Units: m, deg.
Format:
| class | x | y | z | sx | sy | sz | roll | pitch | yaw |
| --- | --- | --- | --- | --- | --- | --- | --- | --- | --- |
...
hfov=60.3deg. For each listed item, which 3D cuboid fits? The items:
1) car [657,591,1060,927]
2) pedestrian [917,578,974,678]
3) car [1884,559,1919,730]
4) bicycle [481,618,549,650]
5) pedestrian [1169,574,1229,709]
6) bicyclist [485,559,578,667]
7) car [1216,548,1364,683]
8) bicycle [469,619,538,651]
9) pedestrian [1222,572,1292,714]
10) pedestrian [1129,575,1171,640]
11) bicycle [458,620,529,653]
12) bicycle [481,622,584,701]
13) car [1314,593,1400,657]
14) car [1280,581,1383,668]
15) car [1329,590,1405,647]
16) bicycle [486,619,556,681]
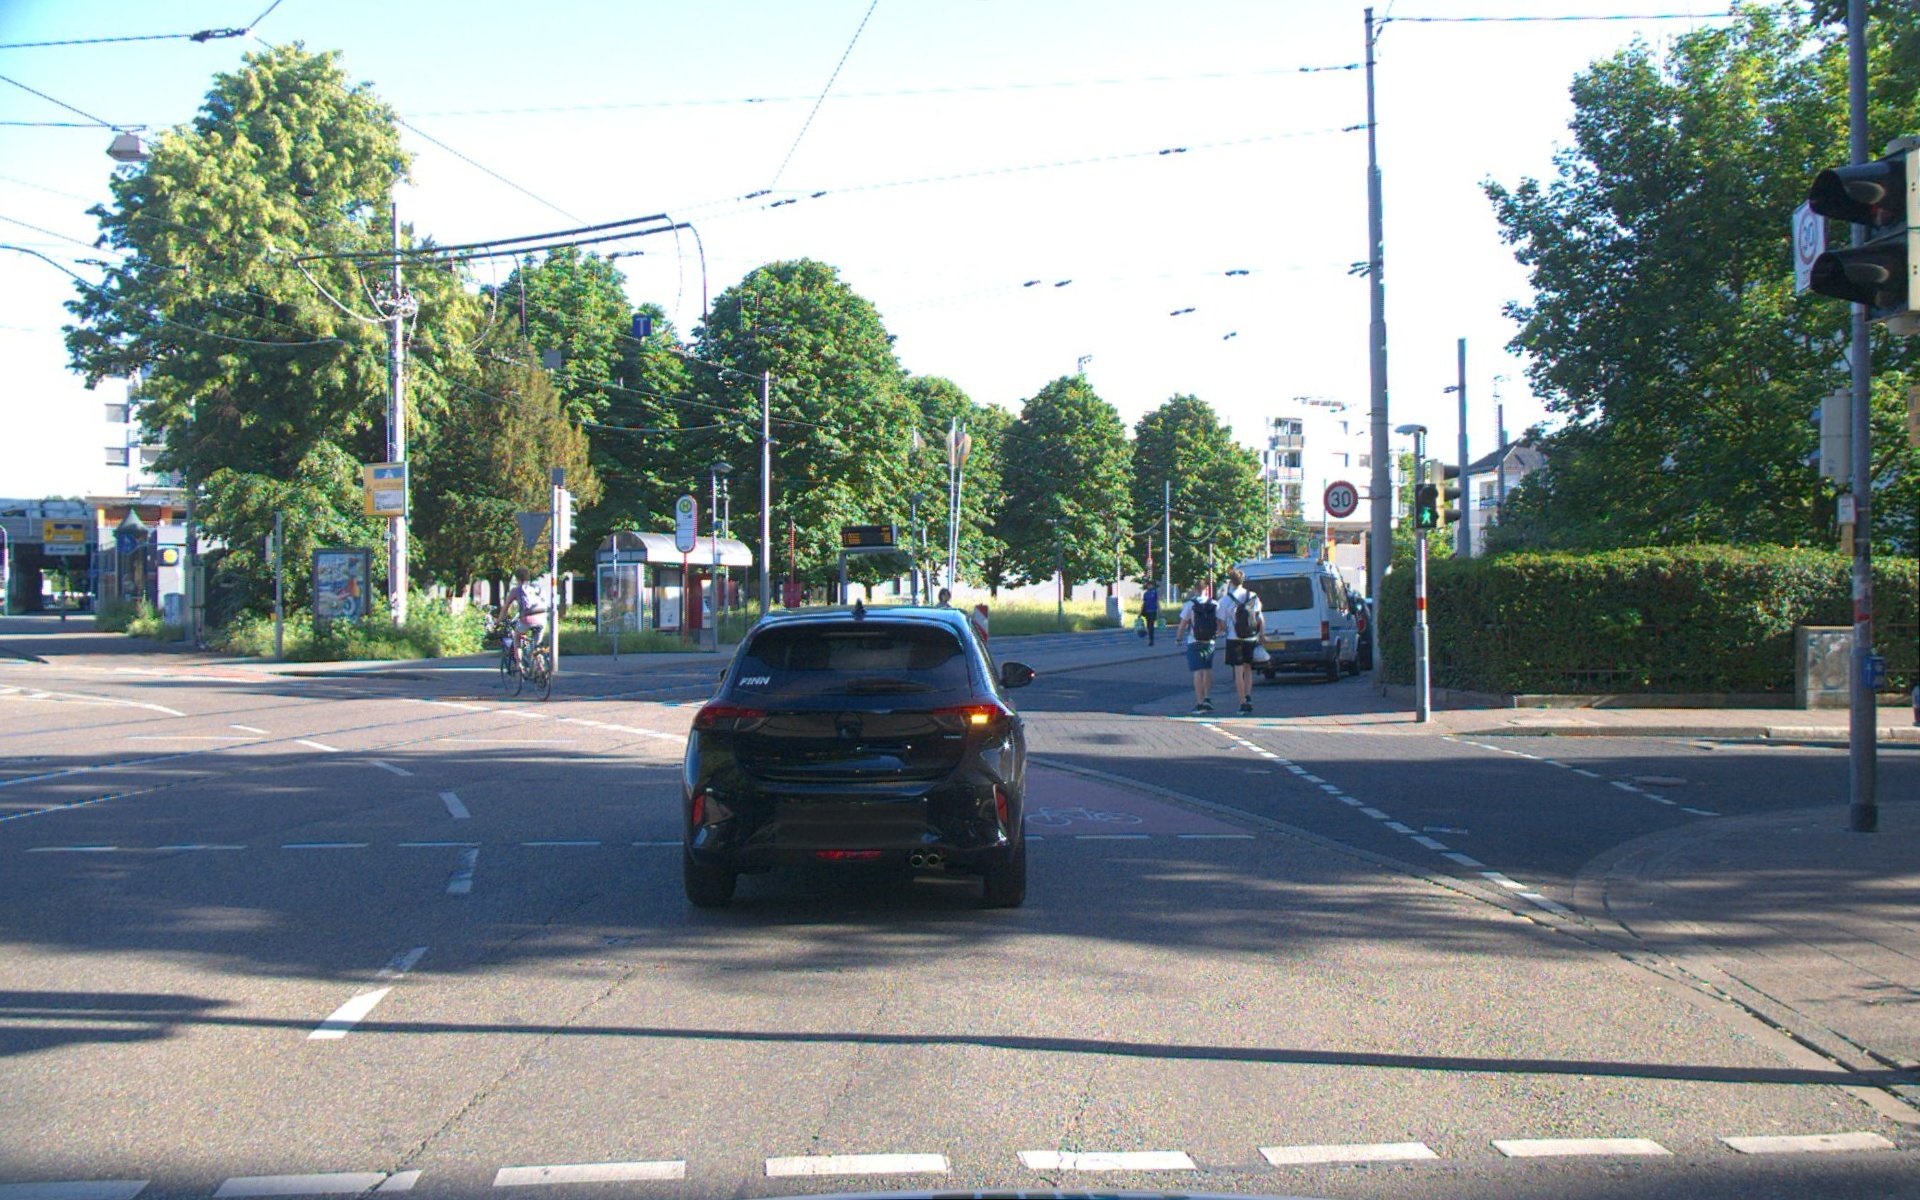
| class | x | y | z | sx | sy | sz | roll | pitch | yaw |
| --- | --- | --- | --- | --- | --- | --- | --- | --- | --- |
| car | -0.453 | 0.696 | 9.250 | 1.763 | 1.466 | 3.939 | 0 | 0 | 0 |
| pedestrian | -0.258 | 0.487 | 28.933 | 0.713 | 1.722 | 0.698 | -1 | 0 | 37 |
| car | 12.403 | 0.458 | 17.579 | 4.088 | 1.846 | 1.807 | -1 | -3 | 5 |
| bicycle | -13.251 | 1.010 | 49.249 | 1.837 | 0.922 | 0.660 | 0 | 0 | 3 |
| pedestrian | 3.269 | 0.559 | 22.622 | 0.685 | 1.823 | 0.617 | 0 | 0 | -4 |
| bicyclist | -6.277 | 0.181 | 24.198 | 0.835 | 1.536 | 1.349 | 0 | 0 | -39 |
| car | 6.237 | 0.303 | 30.855 | 2.046 | 2.317 | 4.306 | 0 | -1 | 20 |
| bicycle | -13.340 | 1.027 | 48.370 | 1.837 | 0.922 | 0.660 | 0 | 0 | 3 |
| pedestrian | 4.003 | 0.570 | 22.304 | 0.691 | 1.879 | 0.698 | -1 | 0 | 36 |
| pedestrian | 5.338 | 0.210 | 46.372 | 0.939 | 1.824 | 0.995 | 0 | 0 | 22 |
| bicycle | -13.370 | 1.050 | 47.382 | 1.837 | 0.922 | 0.660 | 0 | 0 | 3 |
| bicycle | -6.271 | 0.871 | 24.194 | 0.663 | 1.078 | 2.052 | 0 | 0 | -39 |
| car | 9.934 | 0.588 | 41.200 | 1.762 | 1.502 | 3.942 | 0 | 0 | 18 |
| car | 8.134 | 0.505 | 36.036 | 1.763 | 1.794 | 3.892 | 0 | 0 | 19 |
| car | 11.413 | 0.490 | 46.235 | 1.762 | 1.502 | 3.942 | 0 | 0 | 18 |
| bicycle | -8.080 | 0.903 | 30.510 | 0.808 | 1.078 | 1.882 | 0 | 0 | -1 |
